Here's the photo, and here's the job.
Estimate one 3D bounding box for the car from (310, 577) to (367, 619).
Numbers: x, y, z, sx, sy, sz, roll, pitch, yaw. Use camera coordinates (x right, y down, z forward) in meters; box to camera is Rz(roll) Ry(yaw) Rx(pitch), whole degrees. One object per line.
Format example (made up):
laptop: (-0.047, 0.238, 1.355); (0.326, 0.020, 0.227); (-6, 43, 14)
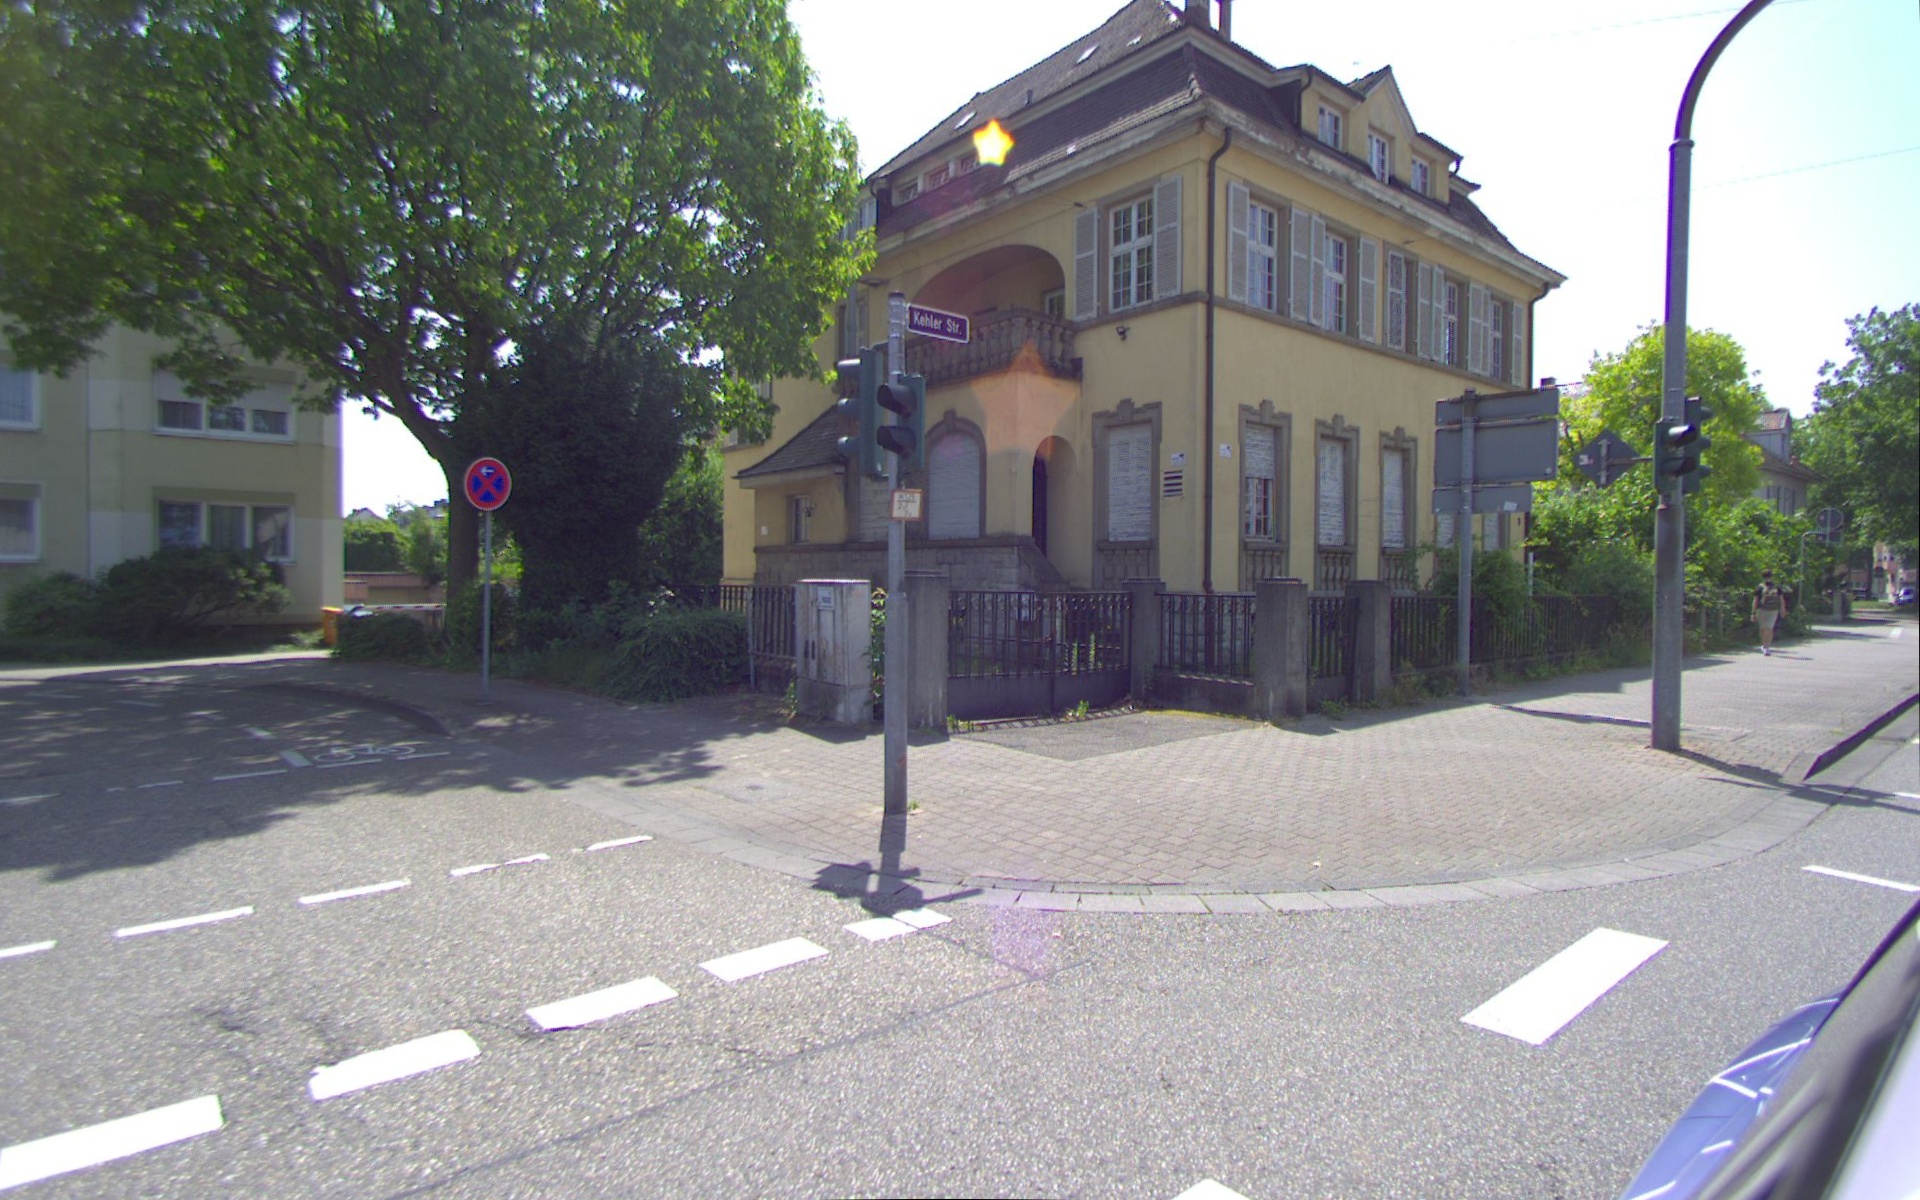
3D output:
car: (-23.003, -0.077, 37.413); (1.382, 1.491, 3.543); (-1, 0, -38)

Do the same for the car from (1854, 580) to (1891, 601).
car: (76.858, -0.816, 85.288); (1.816, 1.705, 3.949); (-1, 0, 36)

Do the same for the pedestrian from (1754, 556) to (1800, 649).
pedestrian: (17.309, 0.041, 21.445); (0.731, 1.942, 0.620); (-1, 2, -41)
